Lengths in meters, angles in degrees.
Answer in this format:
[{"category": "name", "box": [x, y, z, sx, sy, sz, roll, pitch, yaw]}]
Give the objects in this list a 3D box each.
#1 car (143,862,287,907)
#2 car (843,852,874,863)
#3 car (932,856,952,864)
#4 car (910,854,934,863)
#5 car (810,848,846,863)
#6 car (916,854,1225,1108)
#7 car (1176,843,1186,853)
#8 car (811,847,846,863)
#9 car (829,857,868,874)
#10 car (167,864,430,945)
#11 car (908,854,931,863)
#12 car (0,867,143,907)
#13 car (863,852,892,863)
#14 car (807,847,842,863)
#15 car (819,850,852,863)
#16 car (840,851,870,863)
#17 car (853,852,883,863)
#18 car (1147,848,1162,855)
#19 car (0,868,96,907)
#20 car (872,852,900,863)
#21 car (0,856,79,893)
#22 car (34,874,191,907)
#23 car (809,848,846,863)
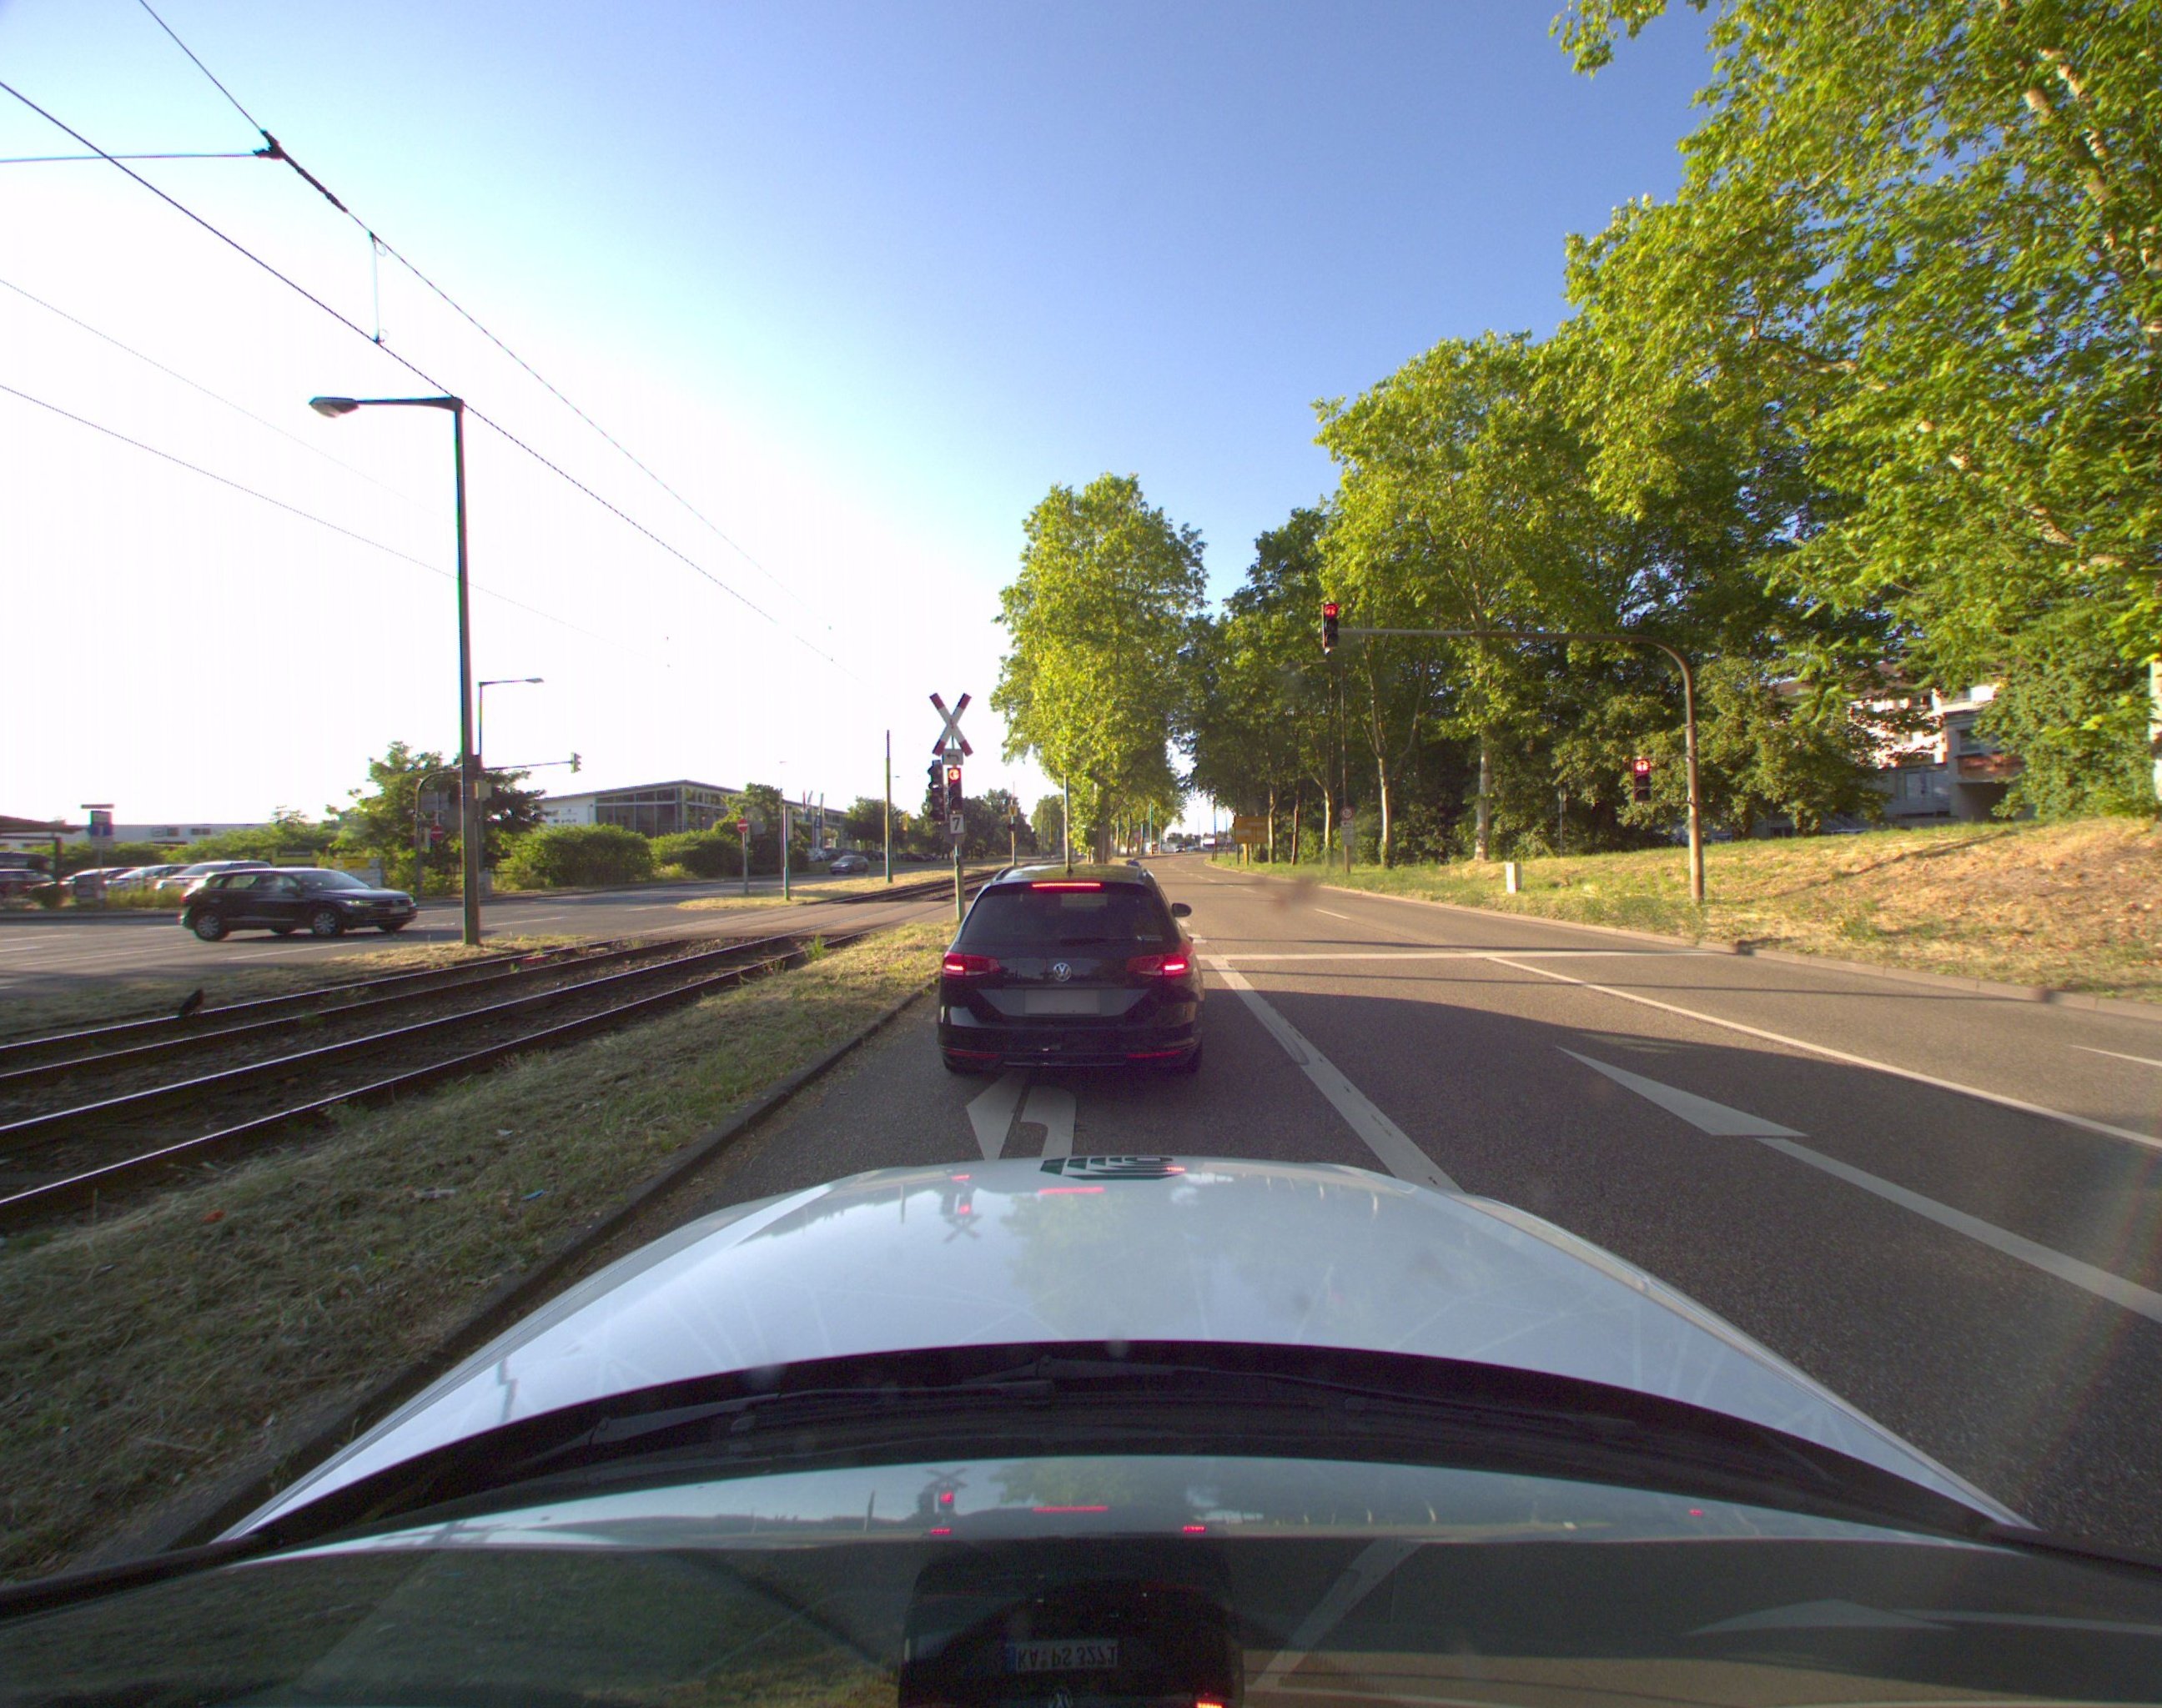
[{"category": "car", "box": [-38.523, 1.324, 36.400, 1.855, 1.821, 4.174, 0, 0, 2]}, {"category": "car", "box": [-31.443, 0.466, 115.303, 3.983, 1.556, 1.739, -1, 0, -7]}, {"category": "car", "box": [-28.821, 1.167, 168.910, 3.977, 1.556, 1.742, -1, 0, -2]}, {"category": "car", "box": [-29.265, 0.897, 149.998, 3.978, 1.621, 1.742, -1, 0, -3]}, {"category": "car", "box": [-29.955, 0.157, 96.373, 3.999, 1.704, 1.732, -1, 0, -19]}, {"category": "car", "box": [-0.016, 0.737, 6.515, 1.788, 1.464, 3.584, 0, 0, 1]}, {"category": "car", "box": [24.844, -1.507, 203.170, 2.086, 2.461, 5.857, 0, 0, 3]}, {"category": "car", "box": [-30.607, 0.121, 98.728, 3.999, 1.816, 1.732, -1, 0, -19]}, {"category": "car", "box": [-21.096, 1.036, 74.063, 1.851, 1.481, 4.183, 0, 0, 9]}, {"category": "car", "box": [-18.498, 1.153, 19.409, 4.342, 1.635, 1.878, -2, 0, -1]}, {"category": "car", "box": [-29.113, 0.853, 146.830, 3.978, 1.621, 1.742, -1, 0, -3]}, {"category": "car", "box": [-44.711, 1.406, 35.881, 1.855, 1.583, 4.174, 0, 0, 2]}, {"category": "car", "box": [-30.614, 0.535, 122.736, 3.978, 1.621, 1.742, -1, 0, -3]}, {"category": "car", "box": [-31.650, 0.123, 100.508, 3.999, 1.816, 1.732, -1, 0, -19]}, {"category": "car", "box": [-31.156, 0.293, 103.408, 3.999, 1.556, 1.732, -1, 0, -19]}, {"category": "car", "box": [-31.234, 0.428, 112.597, 3.999, 1.556, 1.732, -1, 0, -19]}, {"category": "car", "box": [-31.011, 0.510, 118.815, 3.980, 1.556, 1.741, -1, 0, -5]}, {"category": "car", "box": [15.366, -0.507, 170.306, 1.845, 1.481, 4.115, 0, 0, 25]}, {"category": "car", "box": [-47.160, 1.455, 36.034, 1.970, 1.583, 4.174, 0, 0, 2]}, {"category": "car", "box": [-30.126, 0.579, 125.938, 3.978, 1.621, 1.742, -1, 0, -3]}, {"category": "car", "box": [-60.422, 1.155, 45.892, 1.855, 2.014, 4.773, 0, 0, 2]}, {"category": "car", "box": [-42.471, 1.565, 35.878, 1.855, 1.267, 4.174, 0, 0, 2]}, {"category": "car", "box": [-29.266, 0.139, 94.104, 3.999, 1.704, 1.732, -1, 0, -19]}]
